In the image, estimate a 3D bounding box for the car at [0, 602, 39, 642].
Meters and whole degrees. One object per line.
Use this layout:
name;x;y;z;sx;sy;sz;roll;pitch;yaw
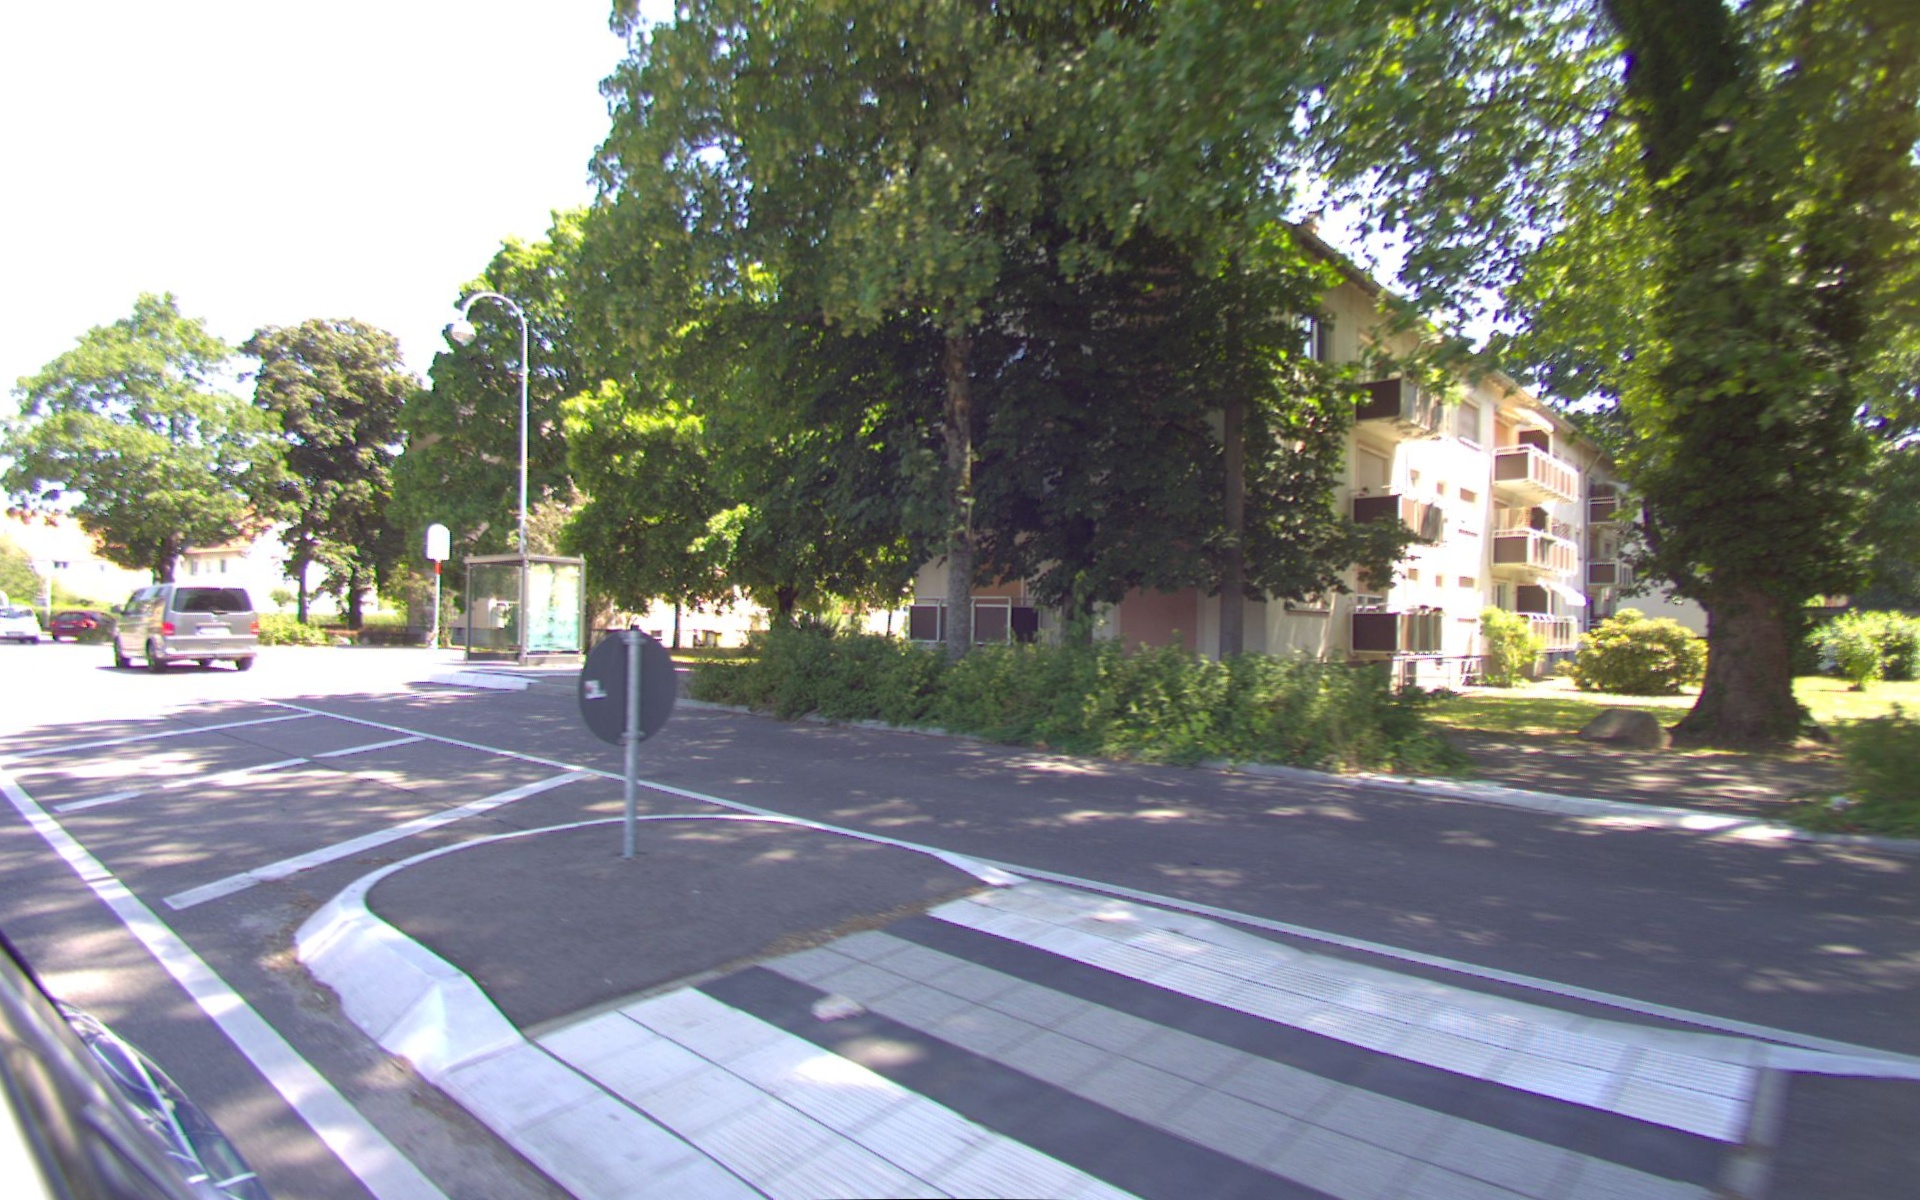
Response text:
car;-37.282;0.857;39.248;3.633;1.471;1.675;-1;-1;37

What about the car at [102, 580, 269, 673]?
car;-17.853;0.586;23.240;4.986;1.924;1.974;-1;-1;39

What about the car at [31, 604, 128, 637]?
car;-40.824;0.978;47.027;1.531;1.461;3.696;1;-2;-6
